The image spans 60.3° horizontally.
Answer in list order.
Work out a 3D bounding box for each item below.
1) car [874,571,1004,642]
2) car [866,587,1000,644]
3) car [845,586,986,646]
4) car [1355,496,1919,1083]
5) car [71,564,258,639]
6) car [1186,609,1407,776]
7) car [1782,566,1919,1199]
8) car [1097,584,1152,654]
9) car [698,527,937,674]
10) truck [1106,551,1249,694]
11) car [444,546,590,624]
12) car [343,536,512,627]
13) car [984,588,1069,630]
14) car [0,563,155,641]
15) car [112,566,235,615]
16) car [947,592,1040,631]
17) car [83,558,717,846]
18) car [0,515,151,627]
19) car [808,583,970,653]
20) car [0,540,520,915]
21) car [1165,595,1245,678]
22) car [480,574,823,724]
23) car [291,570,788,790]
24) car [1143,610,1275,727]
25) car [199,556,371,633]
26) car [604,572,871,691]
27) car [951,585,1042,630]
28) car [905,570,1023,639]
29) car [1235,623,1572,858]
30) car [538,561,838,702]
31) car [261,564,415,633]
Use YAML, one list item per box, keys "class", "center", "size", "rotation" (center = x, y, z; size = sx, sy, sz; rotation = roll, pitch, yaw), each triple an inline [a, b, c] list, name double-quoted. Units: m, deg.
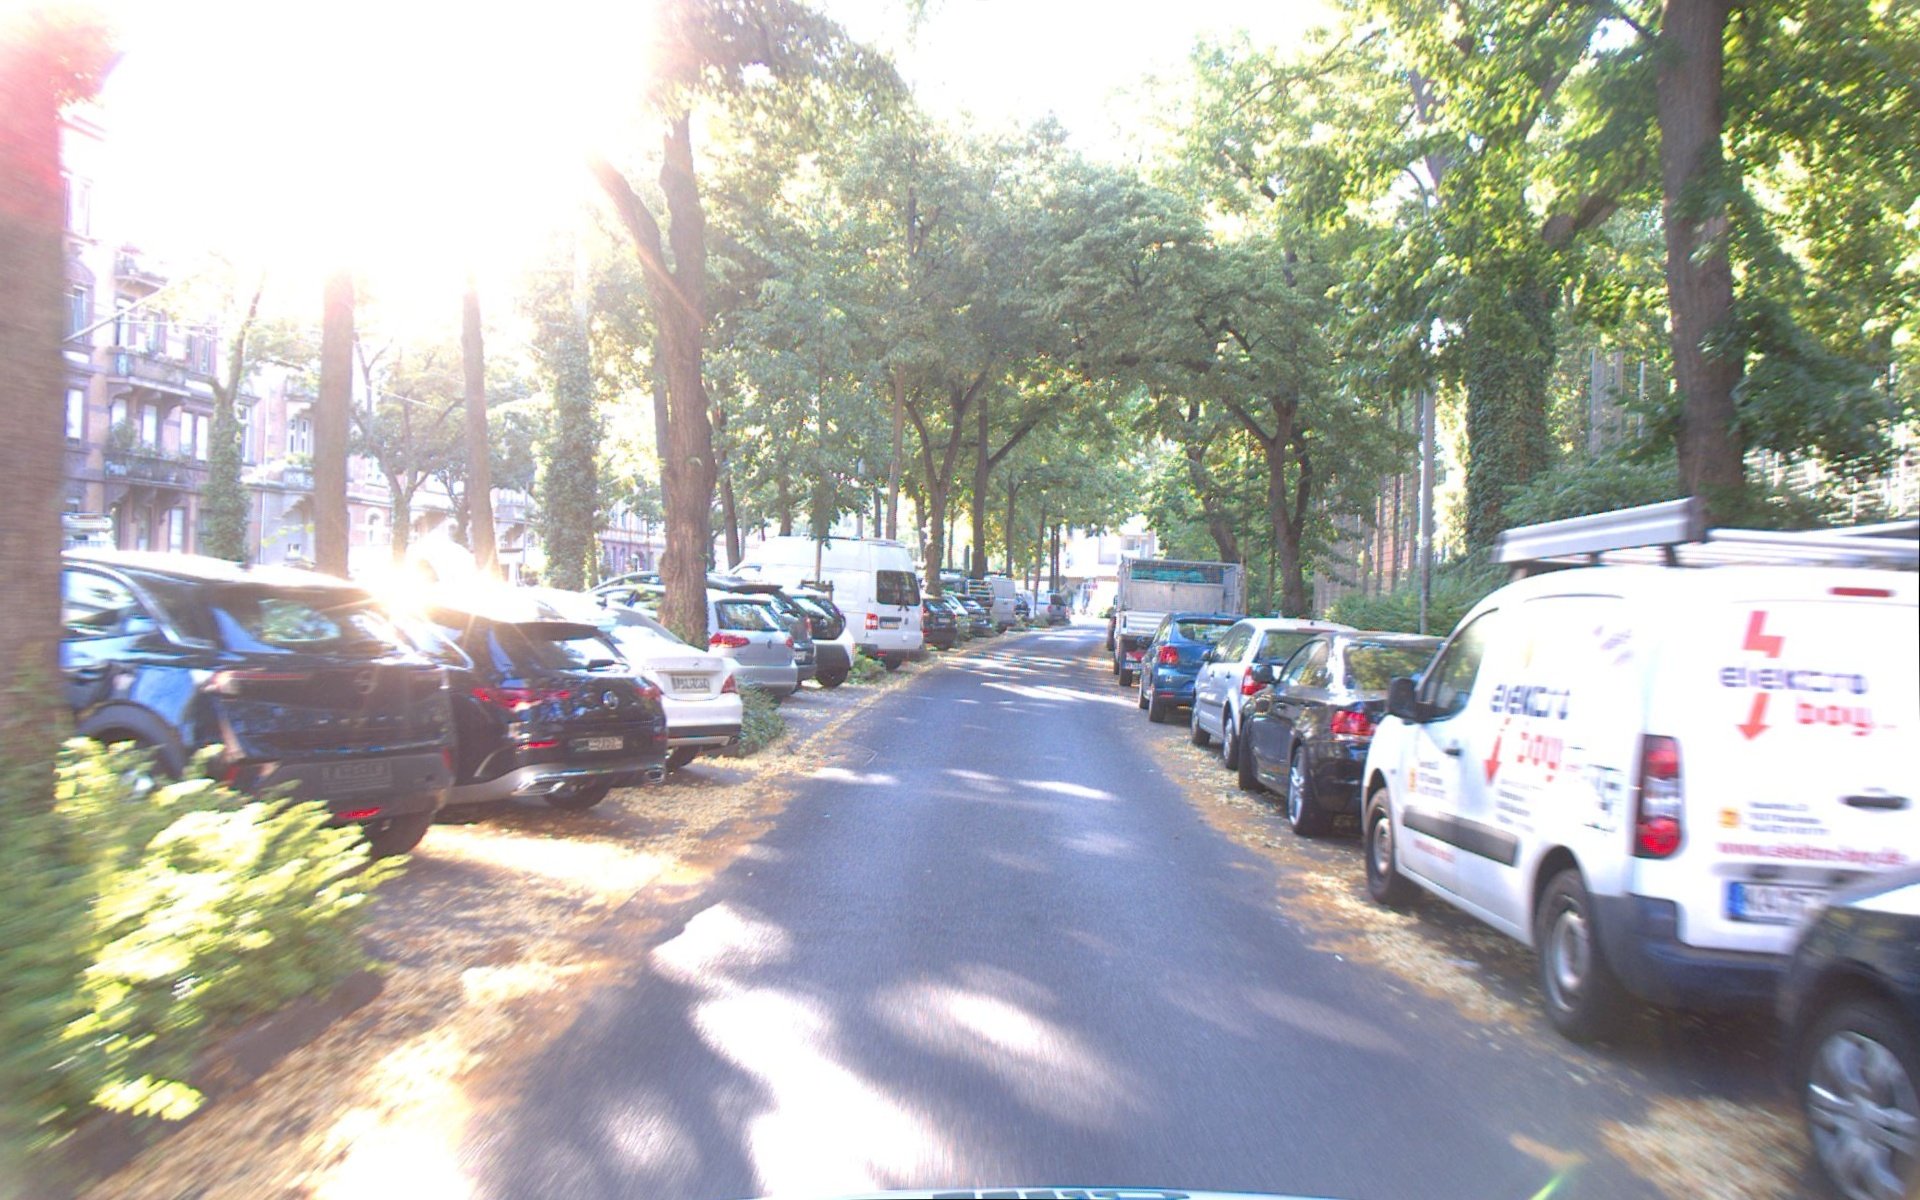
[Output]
- class: "car"
  center: [-0.735, 0.214, 56.452]
  size: [4.010, 2.075, 1.813]
  rotation: [5, 0, 35]
- class: "car"
  center: [-0.889, 0.507, 54.020]
  size: [4.010, 1.499, 1.813]
  rotation: [5, 0, 35]
- class: "car"
  center: [-1.408, 0.487, 51.383]
  size: [4.010, 1.499, 1.813]
  rotation: [5, 0, 35]
- class: "car"
  center: [3.057, 0.638, 7.490]
  size: [1.539, 1.937, 3.902]
  rotation: [2, 0, 0]
- class: "car"
  center: [-17.894, 0.042, 37.165]
  size: [4.151, 1.499, 1.853]
  rotation: [-2, 0, 32]
- class: "car"
  center: [3.396, 0.874, 17.268]
  size: [1.539, 1.493, 3.600]
  rotation: [2, 0, 0]
- class: "car"
  center: [3.207, 0.777, 2.870]
  size: [1.540, 1.666, 3.710]
  rotation: [2, 0, -3]
- class: "car"
  center: [4.974, 0.547, 49.798]
  size: [1.538, 1.975, 3.603]
  rotation: [2, 0, 6]
- class: "car"
  center: [-2.847, -0.011, 32.625]
  size: [4.410, 2.519, 1.813]
  rotation: [5, 0, 35]
- class: "truck"
  center: [3.940, 0.377, 30.711]
  size: [2.317, 2.393, 4.386]
  rotation: [2, 0, 4]
- class: "car"
  center: [-16.404, -0.530, 61.141]
  size: [5.156, 2.617, 2.268]
  rotation: [-2, -1, 32]
- class: "car"
  center: [-16.842, -0.565, 52.250]
  size: [5.156, 2.617, 2.268]
  rotation: [-2, -1, 32]
- class: "car"
  center: [3.459, 0.450, 86.454]
  size: [4.010, 1.820, 1.813]
  rotation: [5, 0, 35]
- class: "car"
  center: [-18.943, 0.066, 34.600]
  size: [4.151, 1.499, 1.853]
  rotation: [-2, 0, 32]
- class: "car"
  center: [-24.918, -0.295, 52.570]
  size: [1.674, 1.471, 4.003]
  rotation: [1, 0, 6]
- class: "car"
  center: [1.565, 0.529, 78.151]
  size: [4.010, 1.499, 1.813]
  rotation: [5, 0, 35]
- class: "car"
  center: [-3.736, 0.604, 11.072]
  size: [3.741, 1.415, 1.737]
  rotation: [5, 0, 23]
- class: "car"
  center: [-25.335, -0.782, 46.046]
  size: [2.498, 2.938, 5.485]
  rotation: [1, 0, 6]
- class: "car"
  center: [-1.929, 0.479, 44.509]
  size: [4.010, 1.499, 1.813]
  rotation: [5, 0, 35]
- class: "car"
  center: [-4.461, 0.513, 8.796]
  size: [3.741, 1.522, 1.737]
  rotation: [5, 0, 23]
- class: "car"
  center: [5.313, 0.751, 36.185]
  size: [1.538, 1.677, 3.603]
  rotation: [2, 0, 6]
- class: "car"
  center: [-3.789, 0.581, 20.373]
  size: [3.741, 1.446, 1.737]
  rotation: [5, 0, 23]
- class: "car"
  center: [-3.572, 0.626, 14.096]
  size: [3.741, 1.415, 1.737]
  rotation: [5, 0, 23]
- class: "car"
  center: [3.363, 0.877, 22.802]
  size: [1.538, 1.409, 3.602]
  rotation: [2, 0, 5]
- class: "car"
  center: [-16.716, -0.126, 40.901]
  size: [4.151, 1.728, 1.853]
  rotation: [-2, 0, 32]
- class: "car"
  center: [-3.513, 0.487, 26.138]
  size: [3.741, 1.507, 1.737]
  rotation: [5, 0, 23]
- class: "car"
  center: [1.787, 0.364, 81.031]
  size: [4.010, 1.820, 1.813]
  rotation: [5, 0, 35]
- class: "car"
  center: [0.132, 0.149, 62.723]
  size: [4.010, 2.248, 1.813]
  rotation: [5, 0, 35]
- class: "car"
  center: [3.159, 0.931, 12.467]
  size: [1.539, 1.410, 3.600]
  rotation: [2, 0, 0]
- class: "car"
  center: [-3.833, 0.427, 23.340]
  size: [3.741, 1.614, 1.737]
  rotation: [5, 0, 23]
- class: "car"
  center: [-17.294, -0.039, 45.940]
  size: [4.151, 1.728, 1.853]
  rotation: [-2, 0, 32]
